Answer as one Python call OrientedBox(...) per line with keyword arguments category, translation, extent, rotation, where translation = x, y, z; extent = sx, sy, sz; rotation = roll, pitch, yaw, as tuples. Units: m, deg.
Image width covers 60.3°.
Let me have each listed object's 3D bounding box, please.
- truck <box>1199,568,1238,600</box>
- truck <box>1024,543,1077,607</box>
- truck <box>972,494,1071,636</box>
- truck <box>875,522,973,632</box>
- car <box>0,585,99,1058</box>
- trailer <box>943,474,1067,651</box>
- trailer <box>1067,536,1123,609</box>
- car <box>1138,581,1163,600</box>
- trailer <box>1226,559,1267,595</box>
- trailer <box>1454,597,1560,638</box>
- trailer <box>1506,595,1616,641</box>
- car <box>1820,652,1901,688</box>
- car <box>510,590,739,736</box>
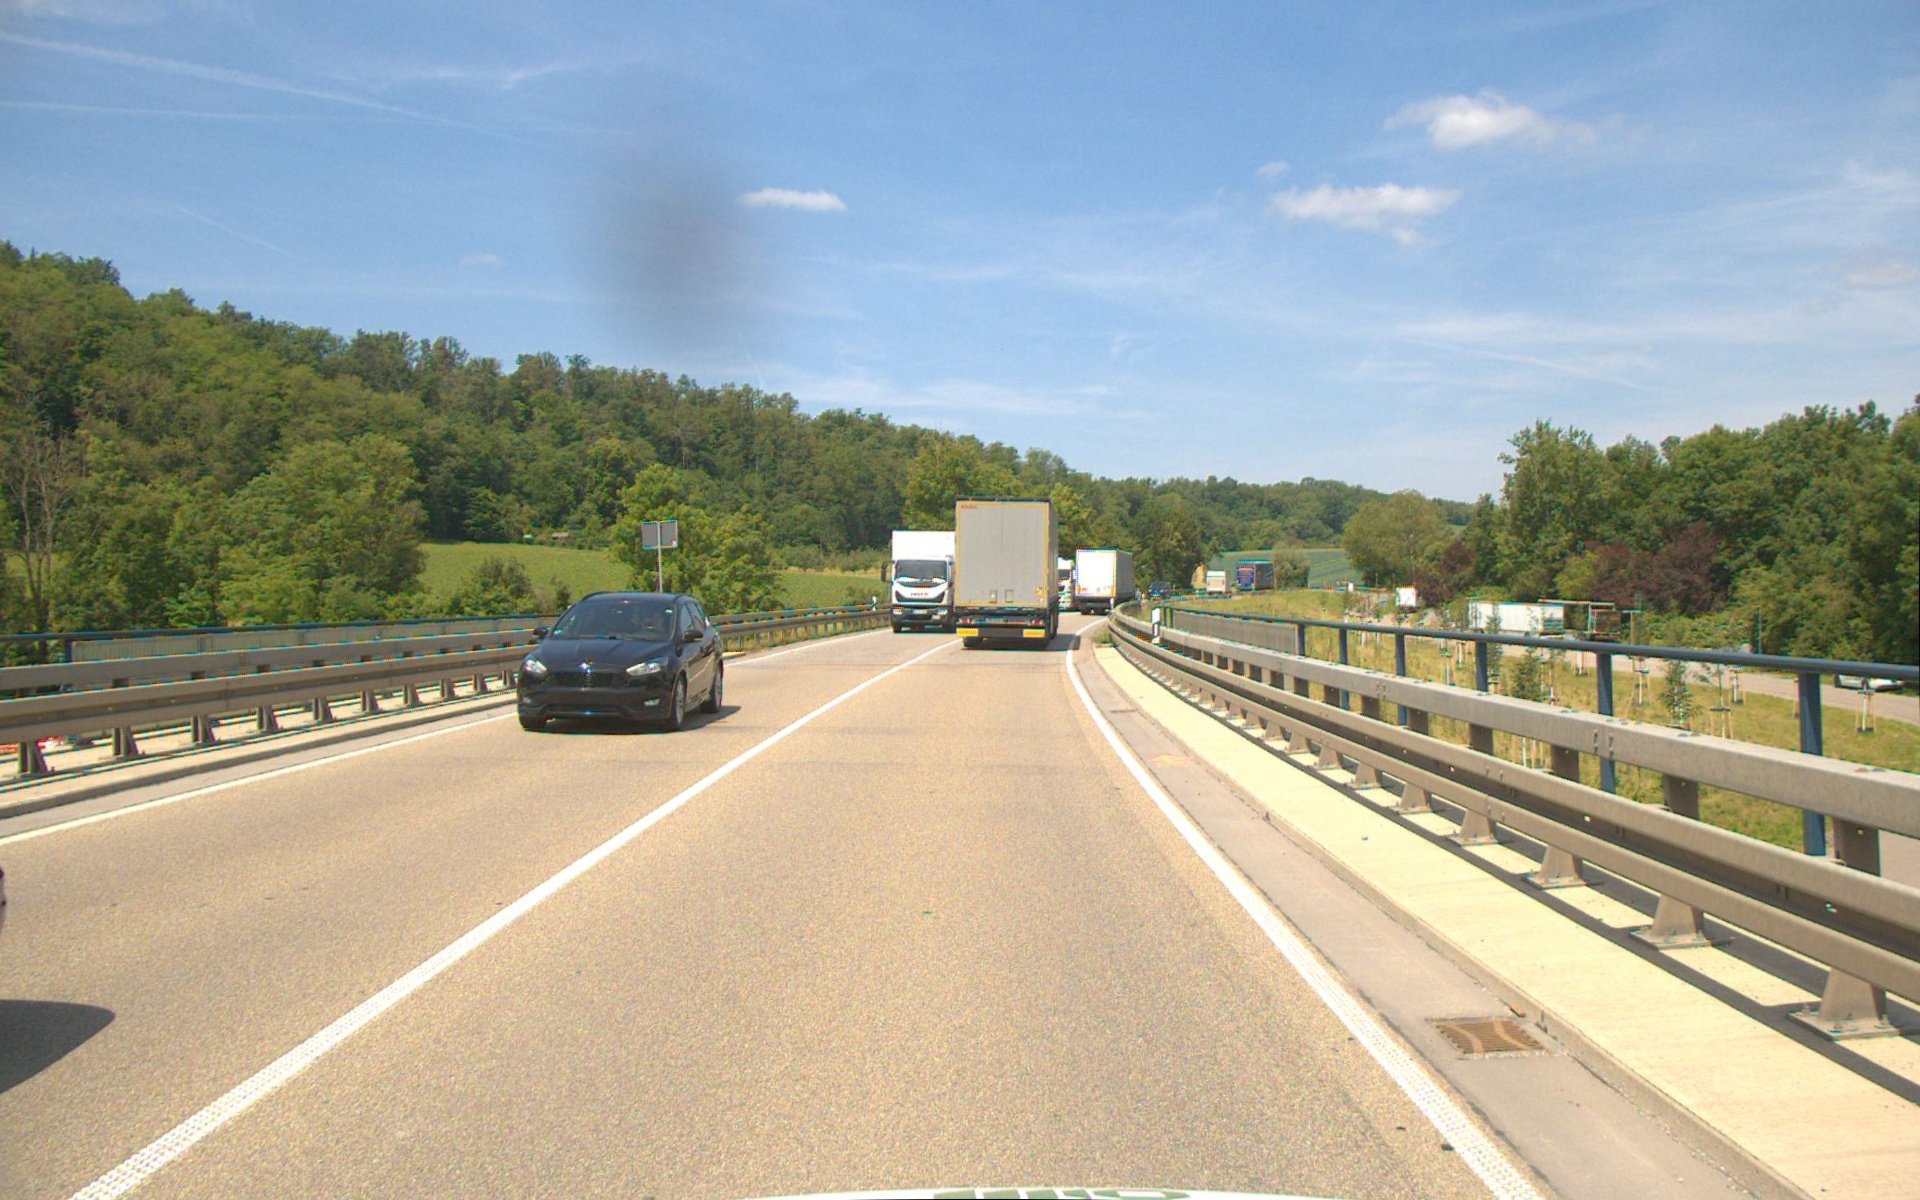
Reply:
OrientedBox(category="truck", translation=(29.417, -1.787, 187.937), extent=(3.154, 3.424, 11.883), rotation=(0, 0, 15))
OrientedBox(category="truck", translation=(6.522, -1.701, 117.728), extent=(2.995, 4.337, 9.876), rotation=(0, 0, 8))
OrientedBox(category="truck", translation=(2.203, -1.191, 56.981), extent=(3.052, 4.573, 6.815), rotation=(0, 1, 5))
OrientedBox(category="truck", translation=(-1.252, -0.875, 63.422), extent=(2.853, 3.870, 9.713), rotation=(0, 1, 4))
OrientedBox(category="car", translation=(-3.785, 0.680, 3.346), extent=(1.685, 1.460, 4.617), rotation=(1, 0, 0))
OrientedBox(category="trailer", translation=(1.613, -1.088, 49.864), extent=(3.053, 4.578, 13.894), rotation=(0, 1, 4))
OrientedBox(category="trailer", translation=(8.896, -1.657, 107.707), extent=(3.294, 4.392, 13.873), rotation=(0, 0, 6))
OrientedBox(category="car", translation=(19.784, -0.970, 171.635), extent=(1.881, 1.892, 5.180), rotation=(0, 0, 13))
OrientedBox(category="trailer", translation=(36.432, -2.827, 209.826), extent=(3.571, 4.337, 12.201), rotation=(0, 0, 17))
OrientedBox(category="trailer", translation=(49.391, 1.534, 149.759), extent=(2.676, 3.386, 11.836), rotation=(0, 1, -18))
OrientedBox(category="trailer", translation=(53.297, 1.502, 147.148), extent=(2.674, 3.669, 11.844), rotation=(1, 1, -16))
OrientedBox(category="car", translation=(47.969, 3.707, 88.222), extent=(1.819, 1.508, 4.609), rotation=(-4, 1, 1))
OrientedBox(category="car", translation=(-3.809, 0.652, 19.536), extent=(1.685, 1.508, 4.570), rotation=(1, 0, 1))
